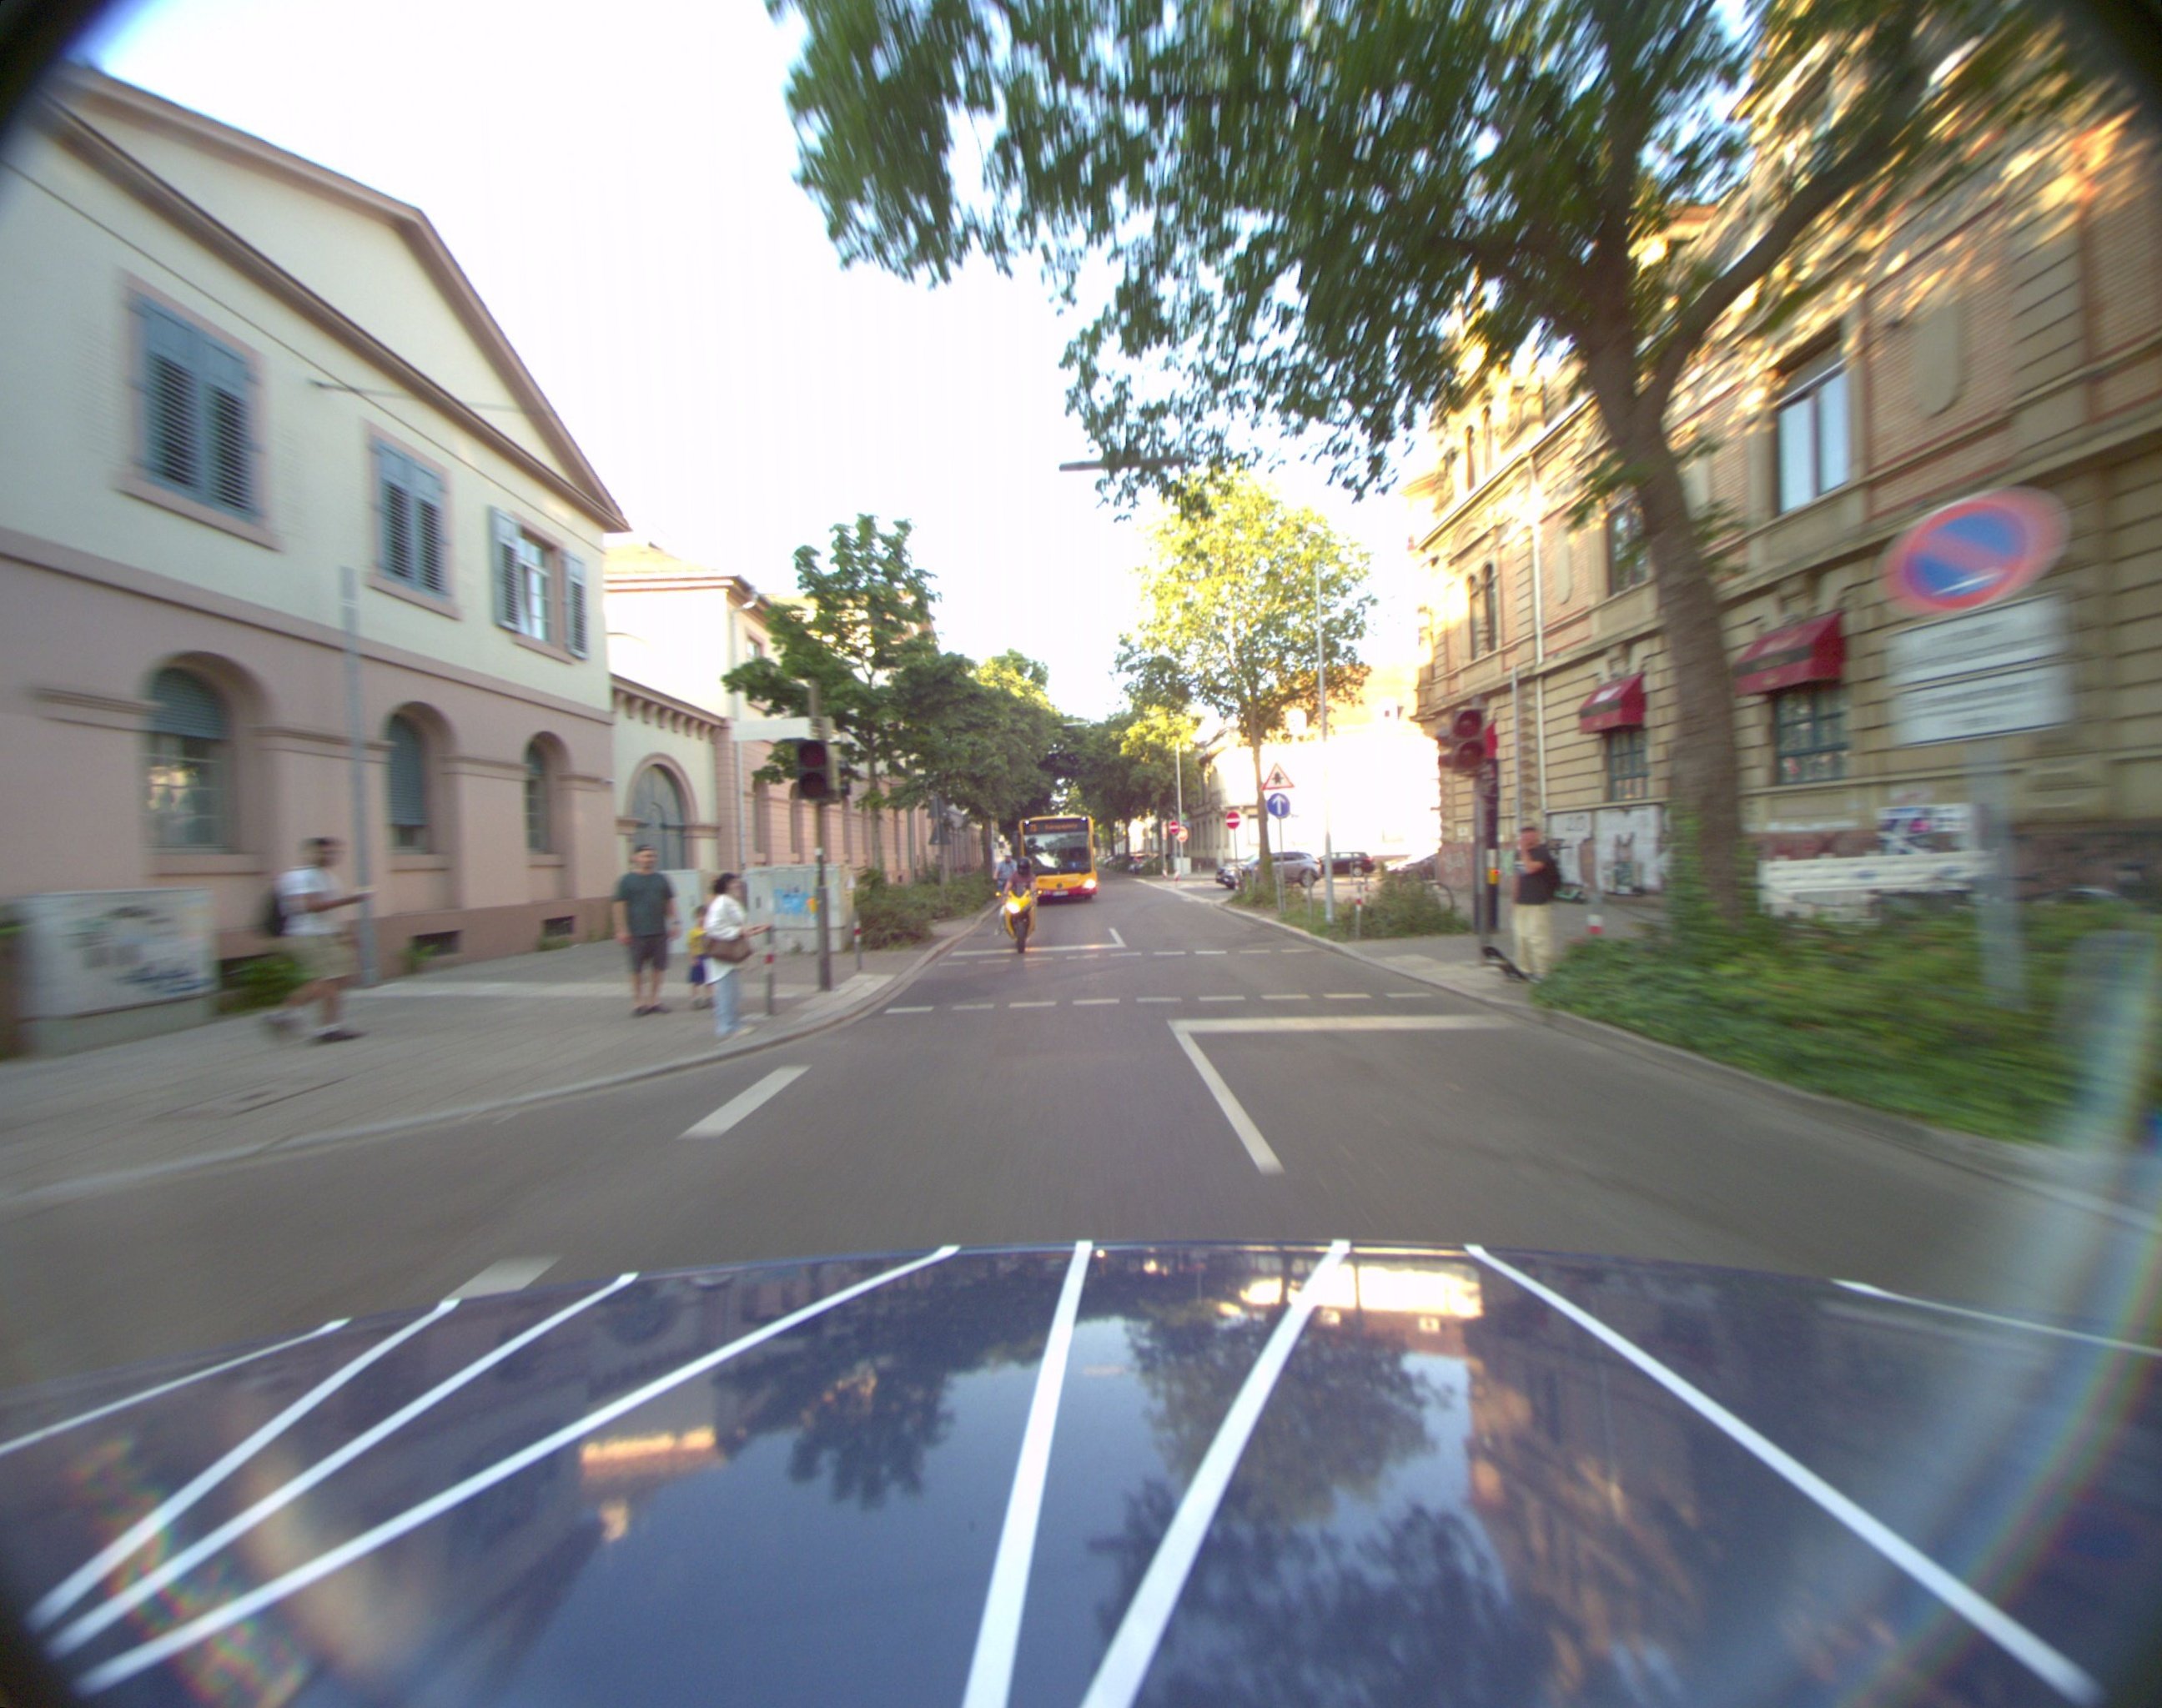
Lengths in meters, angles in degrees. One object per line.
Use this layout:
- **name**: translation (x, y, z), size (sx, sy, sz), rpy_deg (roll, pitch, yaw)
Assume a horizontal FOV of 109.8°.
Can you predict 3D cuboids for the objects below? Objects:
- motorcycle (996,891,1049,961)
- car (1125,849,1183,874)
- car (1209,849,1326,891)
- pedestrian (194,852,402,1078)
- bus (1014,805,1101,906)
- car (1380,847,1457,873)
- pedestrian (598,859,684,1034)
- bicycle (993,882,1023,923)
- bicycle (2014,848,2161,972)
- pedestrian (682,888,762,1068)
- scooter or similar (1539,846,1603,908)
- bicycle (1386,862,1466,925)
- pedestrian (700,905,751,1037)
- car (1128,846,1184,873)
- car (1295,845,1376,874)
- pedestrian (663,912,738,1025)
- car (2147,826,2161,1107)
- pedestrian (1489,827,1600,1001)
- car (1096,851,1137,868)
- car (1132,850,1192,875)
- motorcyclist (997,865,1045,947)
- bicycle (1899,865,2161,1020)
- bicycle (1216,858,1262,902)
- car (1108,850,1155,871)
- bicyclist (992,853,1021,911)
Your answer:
- **motorcycle**: translation (-1.115, 1.272, 13.977), size (0.738, 1.053, 1.962), rpy_deg (-3, 1, -10)
- **car**: translation (5.591, 0.574, 58.385), size (4.000, 1.801, 1.799), rpy_deg (-2, 0, -9)
- **car**: translation (7.828, 0.632, 32.103), size (4.361, 1.561, 1.945), rpy_deg (-2, 1, -12)
- **pedestrian**: translation (-6.869, 0.915, 6.736), size (0.698, 1.844, 1.050), rpy_deg (-1, 0, 4)
- **bus**: translation (-0.887, 0.044, 30.976), size (2.668, 3.176, 11.896), rpy_deg (-4, 0, -1)
- **car**: translation (18.655, 0.319, 42.057), size (3.807, 1.317, 1.836), rpy_deg (-2, 0, 24)
- **pedestrian**: translation (-4.586, 0.932, 7.944), size (0.544, 1.764, 0.576), rpy_deg (0, 1, 1)
- **bicycle**: translation (-2.007, 1.317, 21.092), size (0.637, 0.977, 1.981), rpy_deg (-4, 0, -2)
- **bicycle**: translation (10.081, 0.513, 7.063), size (0.500, 1.101, 1.800), rpy_deg (-5, 0, -2)
- **pedestrian**: translation (-3.291, 1.078, 6.944), size (0.600, 1.502, 0.719), rpy_deg (0, 1, -30)
- **scooter or similar**: translation (10.043, 0.469, 15.618), size (0.385, 1.191, 1.273), rpy_deg (-5, -1, 0)
- **bicycle**: translation (6.647, 0.725, 14.747), size (0.500, 1.101, 1.799), rpy_deg (-5, 0, -7)
- **pedestrian**: translation (-3.655, 1.176, 7.809), size (0.452, 1.254, 0.489), rpy_deg (0, 1, -27)
- **car**: translation (5.963, 0.447, 60.868), size (4.000, 1.940, 1.998), rpy_deg (-2, 0, -9)
- **car**: translation (14.652, 0.311, 43.705), size (4.261, 1.521, 1.836), rpy_deg (-2, 0, 23)
- **pedestrian**: translation (-4.181, 1.238, 8.365), size (0.492, 1.138, 0.546), rpy_deg (0, 1, 25)
- **car**: translation (6.399, 0.588, 2.090), size (4.437, 1.712, 1.890), rpy_deg (-4, 1, -3)
- **pedestrian**: translation (5.075, 0.615, 8.322), size (0.833, 1.767, 0.764), rpy_deg (-4, 2, -38)
- **car**: translation (3.782, 0.554, 81.694), size (4.000, 1.699, 1.843), rpy_deg (-2, 0, -9)
- **car**: translation (5.926, 0.645, 55.685), size (4.000, 1.660, 1.799), rpy_deg (-2, 0, -9)
- **motorcyclist**: translation (-1.109, 0.926, 13.861), size (0.738, 1.404, 0.726), rpy_deg (-3, 1, -10)
- **bicycle**: translation (8.275, 0.676, 6.498), size (0.500, 1.101, 1.800), rpy_deg (-5, 0, -2)
- **bicycle**: translation (4.891, 0.786, 23.432), size (0.805, 1.217, 2.421), rpy_deg (-6, -2, 23)
- **car**: translation (4.655, 0.592, 70.661), size (4.000, 1.699, 1.998), rpy_deg (-2, 0, -9)
- **bicyclist**: translation (-2.056, 0.765, 21.104), size (0.637, 1.552, 0.818), rpy_deg (-4, 0, -2)
